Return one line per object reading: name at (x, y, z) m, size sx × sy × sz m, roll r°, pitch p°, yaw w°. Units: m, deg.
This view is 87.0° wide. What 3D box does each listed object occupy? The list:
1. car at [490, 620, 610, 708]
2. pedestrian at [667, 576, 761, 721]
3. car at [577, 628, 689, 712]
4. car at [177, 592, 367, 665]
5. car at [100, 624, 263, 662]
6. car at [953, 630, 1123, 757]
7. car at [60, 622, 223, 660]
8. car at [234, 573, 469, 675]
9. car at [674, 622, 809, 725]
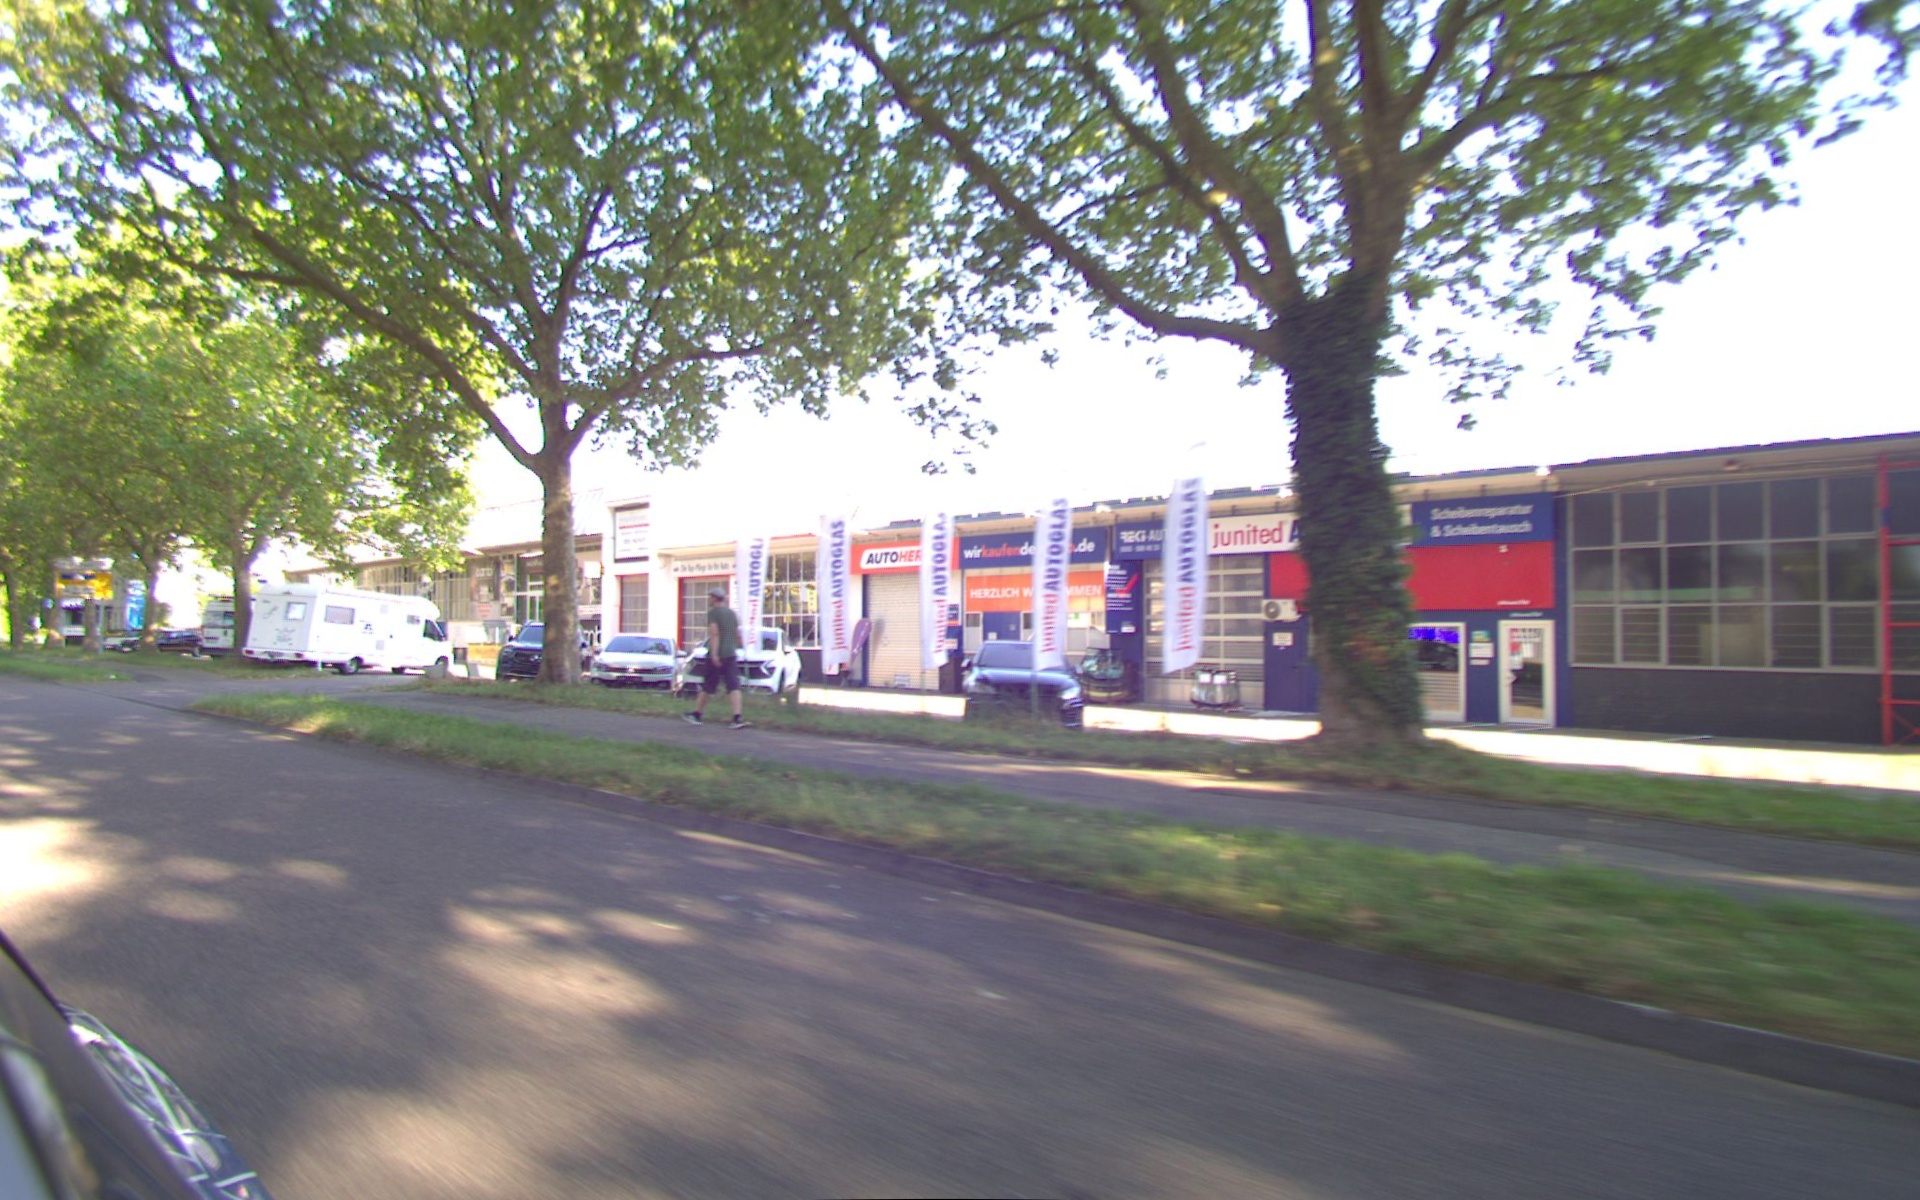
car at (-9.676, 1.433, 24.211) m, size 1.967 × 1.854 × 4.259 m, roll 0°, pitch -1°, yaw -12°
pedestrian at (-3.188, 0.602, 13.113) m, size 0.940 × 1.786 × 0.795 m, roll -1°, pitch -1°, yaw 43°
car at (-7.049, 1.442, 22.183) m, size 1.967 × 1.582 × 4.061 m, roll 0°, pitch -1°, yaw -12°
car at (-27.715, 1.251, 41.176) m, size 2.574 × 2.517 × 6.302 m, roll 0°, pitch -6°, yaw 11°
car at (-41.506, 2.375, 54.199) m, size 2.708 × 1.693 × 6.373 m, roll -2°, pitch -6°, yaw 22°
car at (1.032, 1.304, 15.447) m, size 1.970 × 1.586 × 3.847 m, roll 0°, pitch 0°, yaw -5°
car at (-44.343, 2.305, 55.083) m, size 2.708 × 1.693 × 6.322 m, roll -2°, pitch -6°, yaw 22°
car at (-20.008, 0.980, 33.893) m, size 2.575 × 2.875 × 6.931 m, roll -1°, pitch -6°, yaw 12°
car at (-4.232, 1.352, 20.254) m, size 1.971 × 1.764 × 4.315 m, roll 0°, pitch 0°, yaw -3°
